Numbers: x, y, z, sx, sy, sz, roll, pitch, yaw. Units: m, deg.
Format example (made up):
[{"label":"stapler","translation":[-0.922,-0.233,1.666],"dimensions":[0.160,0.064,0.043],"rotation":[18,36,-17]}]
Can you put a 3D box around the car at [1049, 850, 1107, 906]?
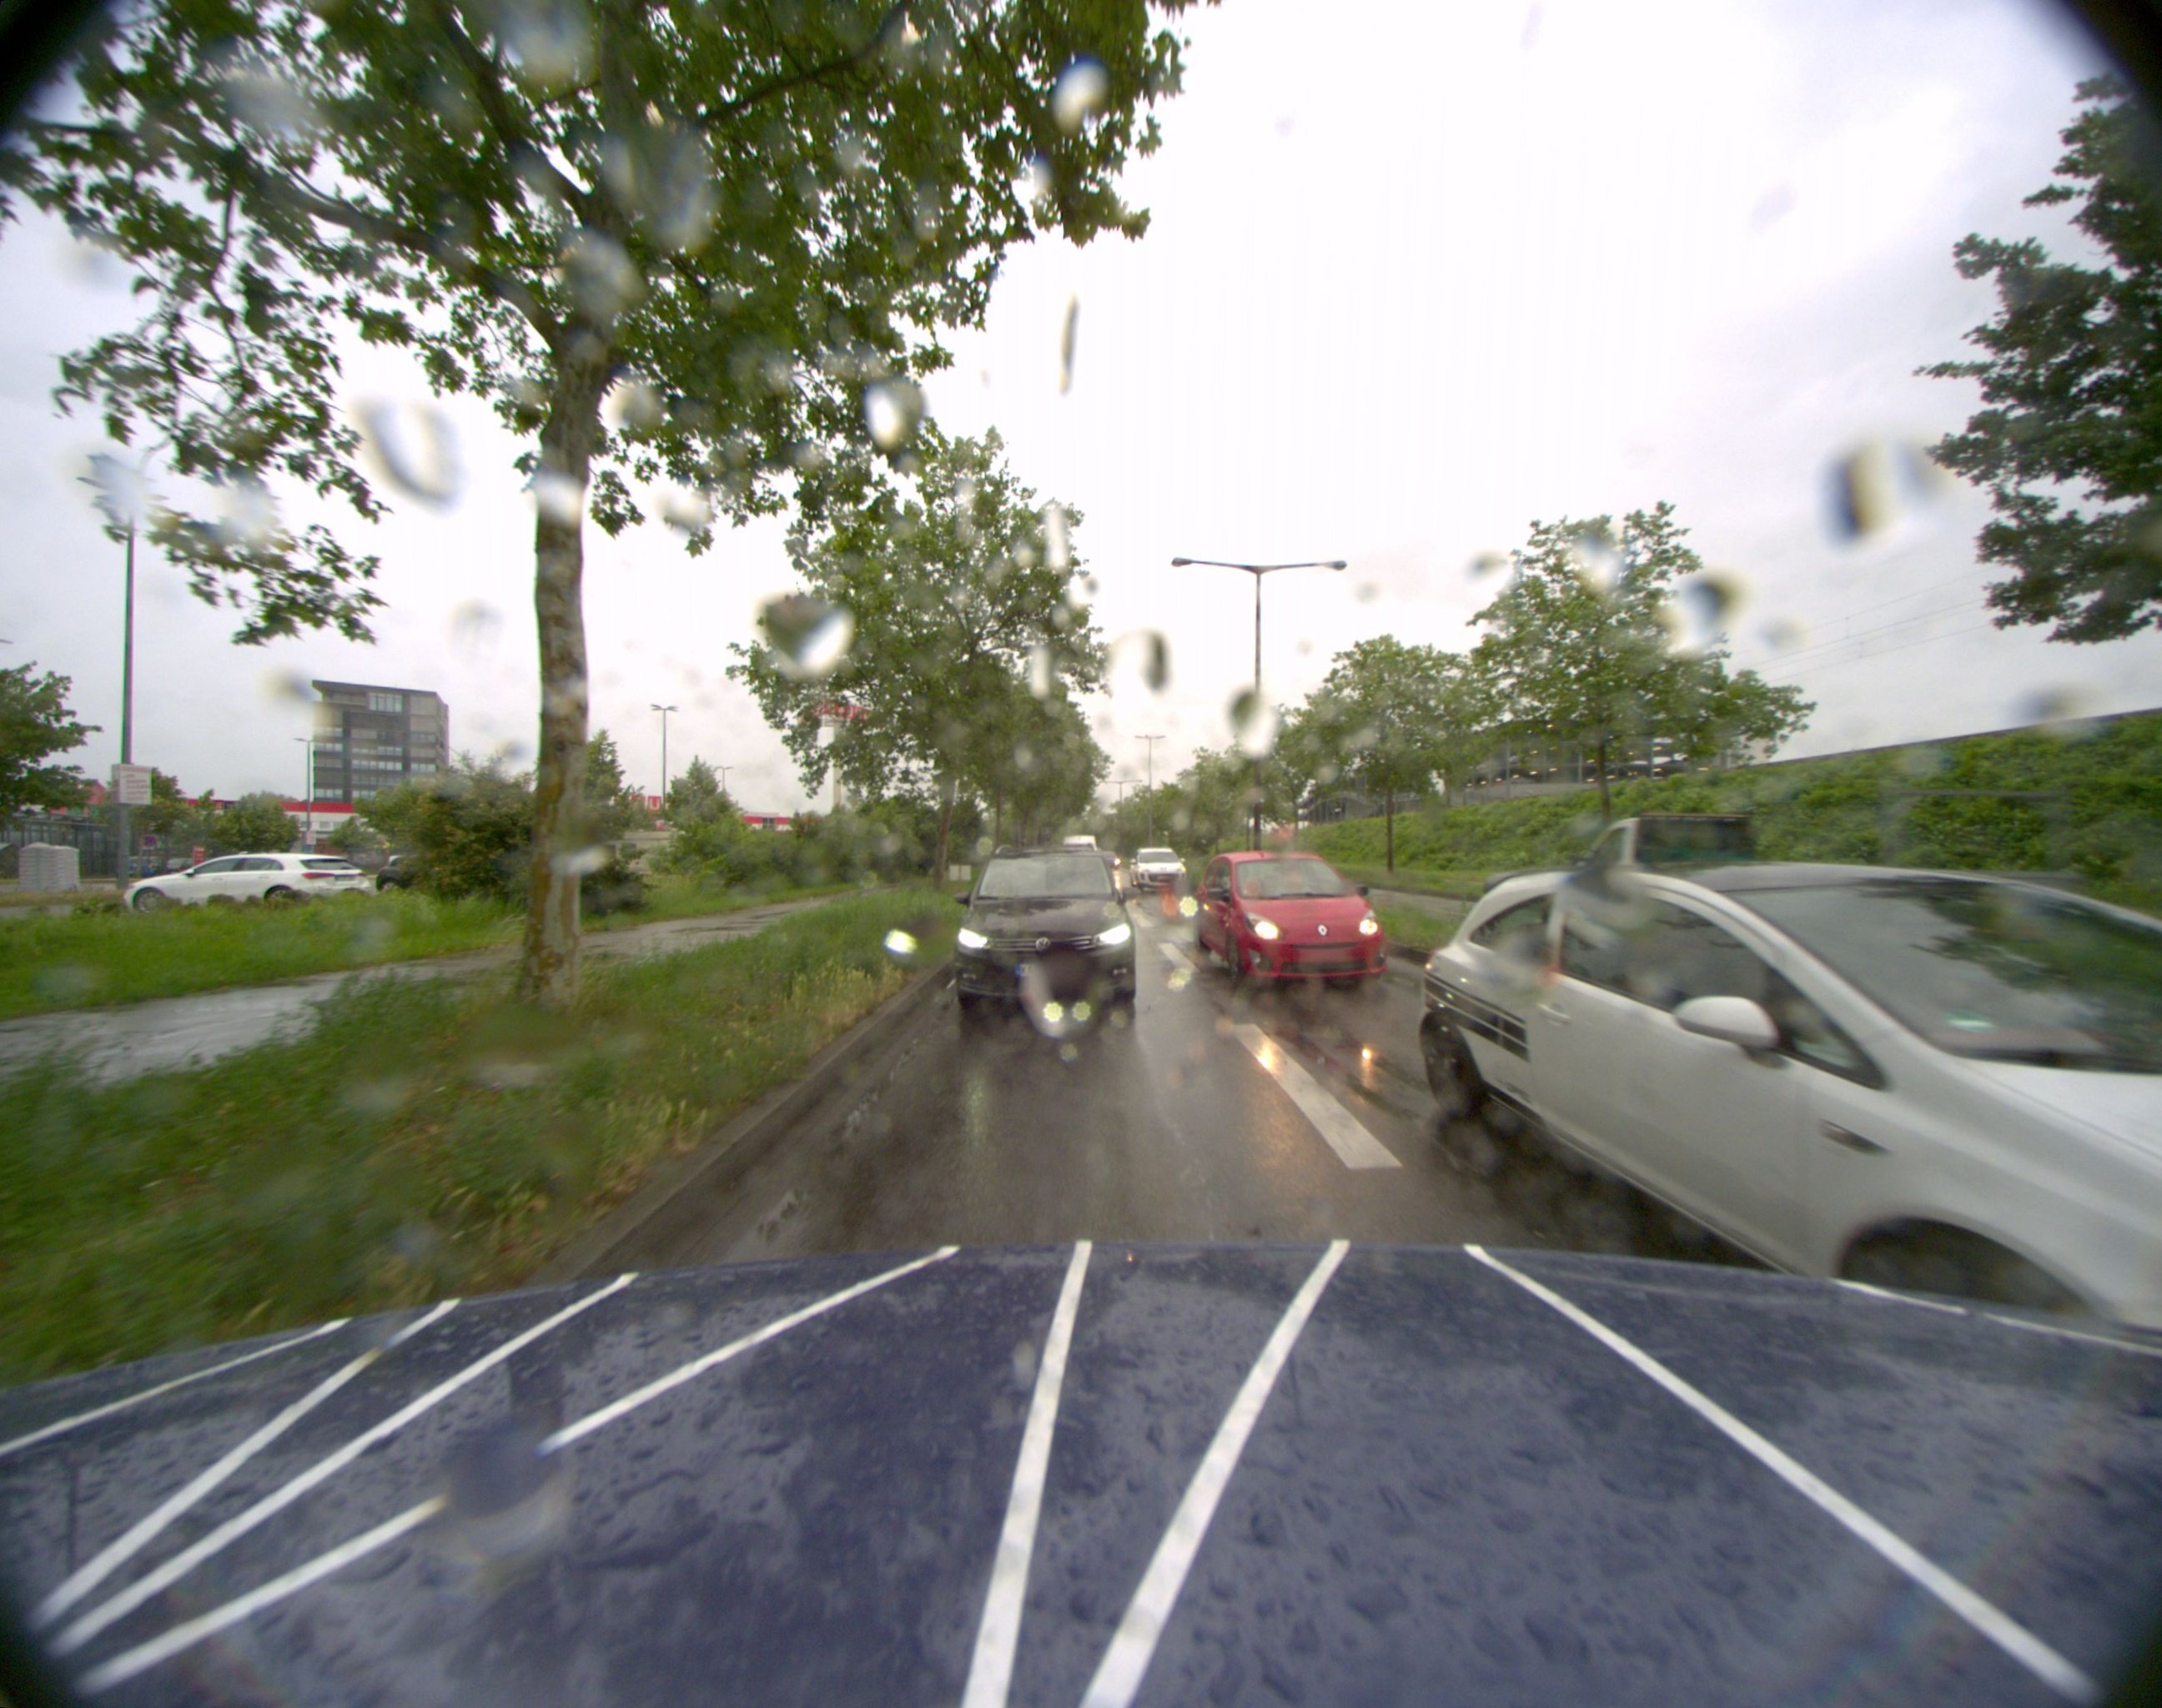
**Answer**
[{"label":"car","translation":[-0.101,0.774,26.945],"dimensions":[1.831,1.737,4.146],"rotation":[-2,0,0]}]

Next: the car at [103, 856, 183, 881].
[{"label":"car","translation":[-62.143,0.921,50.433],"dimensions":[1.933,1.543,4.262],"rotation":[0,1,-31]}]

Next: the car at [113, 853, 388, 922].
[{"label":"car","translation":[-19.842,0.769,18.343],"dimensions":[4.272,1.543,1.929],"rotation":[0,1,-5]}]

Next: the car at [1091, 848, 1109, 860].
[{"label":"car","translation":[2.380,-0.004,95.035],"dimensions":[1.716,1.494,3.997],"rotation":[-2,1,-6]}]

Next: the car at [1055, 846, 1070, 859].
[{"label":"car","translation":[-3.070,-0.292,125.232],"dimensions":[1.726,2.002,3.995],"rotation":[-2,1,-11]}]

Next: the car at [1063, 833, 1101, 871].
[{"label":"car","translation":[0.116,-0.132,43.961],"dimensions":[1.998,2.002,5.131],"rotation":[-2,1,1]}]

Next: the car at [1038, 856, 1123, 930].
[{"label":"car","translation":[-0.021,0.822,18.016],"dimensions":[1.724,1.456,4.092],"rotation":[-2,0,0]}]

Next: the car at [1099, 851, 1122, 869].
[{"label":"car","translation":[2.629,0.522,69.053],"dimensions":[1.715,1.494,3.999],"rotation":[-2,1,-2]}]

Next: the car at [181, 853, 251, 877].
[{"label":"car","translation":[-59.633,0.750,52.490],"dimensions":[1.933,1.543,4.262],"rotation":[0,1,-31]}]

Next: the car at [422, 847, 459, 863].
[{"label":"car","translation":[-61.510,0.072,73.016],"dimensions":[1.933,1.543,4.263],"rotation":[0,1,-29]}]

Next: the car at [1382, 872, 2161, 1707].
[{"label":"car","translation":[2.762,0.838,2.713],"dimensions":[1.683,1.369,4.010],"rotation":[-2,0,-1]}]

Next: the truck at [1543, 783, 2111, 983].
[{"label":"truck","translation":[10.843,0.317,12.356],"dimensions":[2.480,2.351,6.866],"rotation":[0,1,0]}]

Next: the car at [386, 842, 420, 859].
[{"label":"car","translation":[-79.027,-0.416,88.636],"dimensions":[1.933,1.866,4.263],"rotation":[0,1,-28]}]

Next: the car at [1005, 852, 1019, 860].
[{"label":"car","translation":[-15.972,0.479,175.851],"dimensions":[2.002,1.609,3.993],"rotation":[-3,1,-20]}]

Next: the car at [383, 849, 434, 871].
[{"label":"car","translation":[-50.689,0.430,57.361],"dimensions":[1.933,1.543,4.263],"rotation":[0,1,-29]}]

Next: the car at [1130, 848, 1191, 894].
[{"label":"car","translation":[2.954,0.598,29.170],"dimensions":[1.831,1.603,4.146],"rotation":[-2,0,0]}]

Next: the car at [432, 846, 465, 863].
[{"label":"car","translation":[-70.630,0.037,84.866],"dimensions":[1.933,1.886,4.738],"rotation":[0,1,-29]}]

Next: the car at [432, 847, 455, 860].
[{"label":"car","translation":[-98.879,-0.091,117.886],"dimensions":[1.933,1.866,4.263],"rotation":[0,1,-28]}]

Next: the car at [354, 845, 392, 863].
[{"label":"car","translation":[-68.988,-0.049,74.120],"dimensions":[2.006,1.667,4.262],"rotation":[0,1,-33]}]

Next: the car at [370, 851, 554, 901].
[{"label":"car","translation":[-20.014,0.679,24.739],"dimensions":[4.272,1.543,1.929],"rotation":[0,1,-5]}]

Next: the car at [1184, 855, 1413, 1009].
[{"label":"car","translation":[2.455,0.788,9.655],"dimensions":[1.724,1.456,4.092],"rotation":[-2,0,0]}]

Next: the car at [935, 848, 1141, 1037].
[{"label":"car","translation":[-0.433,0.768,9.058],"dimensions":[1.771,1.596,4.625],"rotation":[-2,1,-1]}]

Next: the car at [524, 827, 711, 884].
[{"label":"car","translation":[-19.769,0.056,32.757],"dimensions":[6.425,2.349,2.390],"rotation":[0,1,-9]}]
